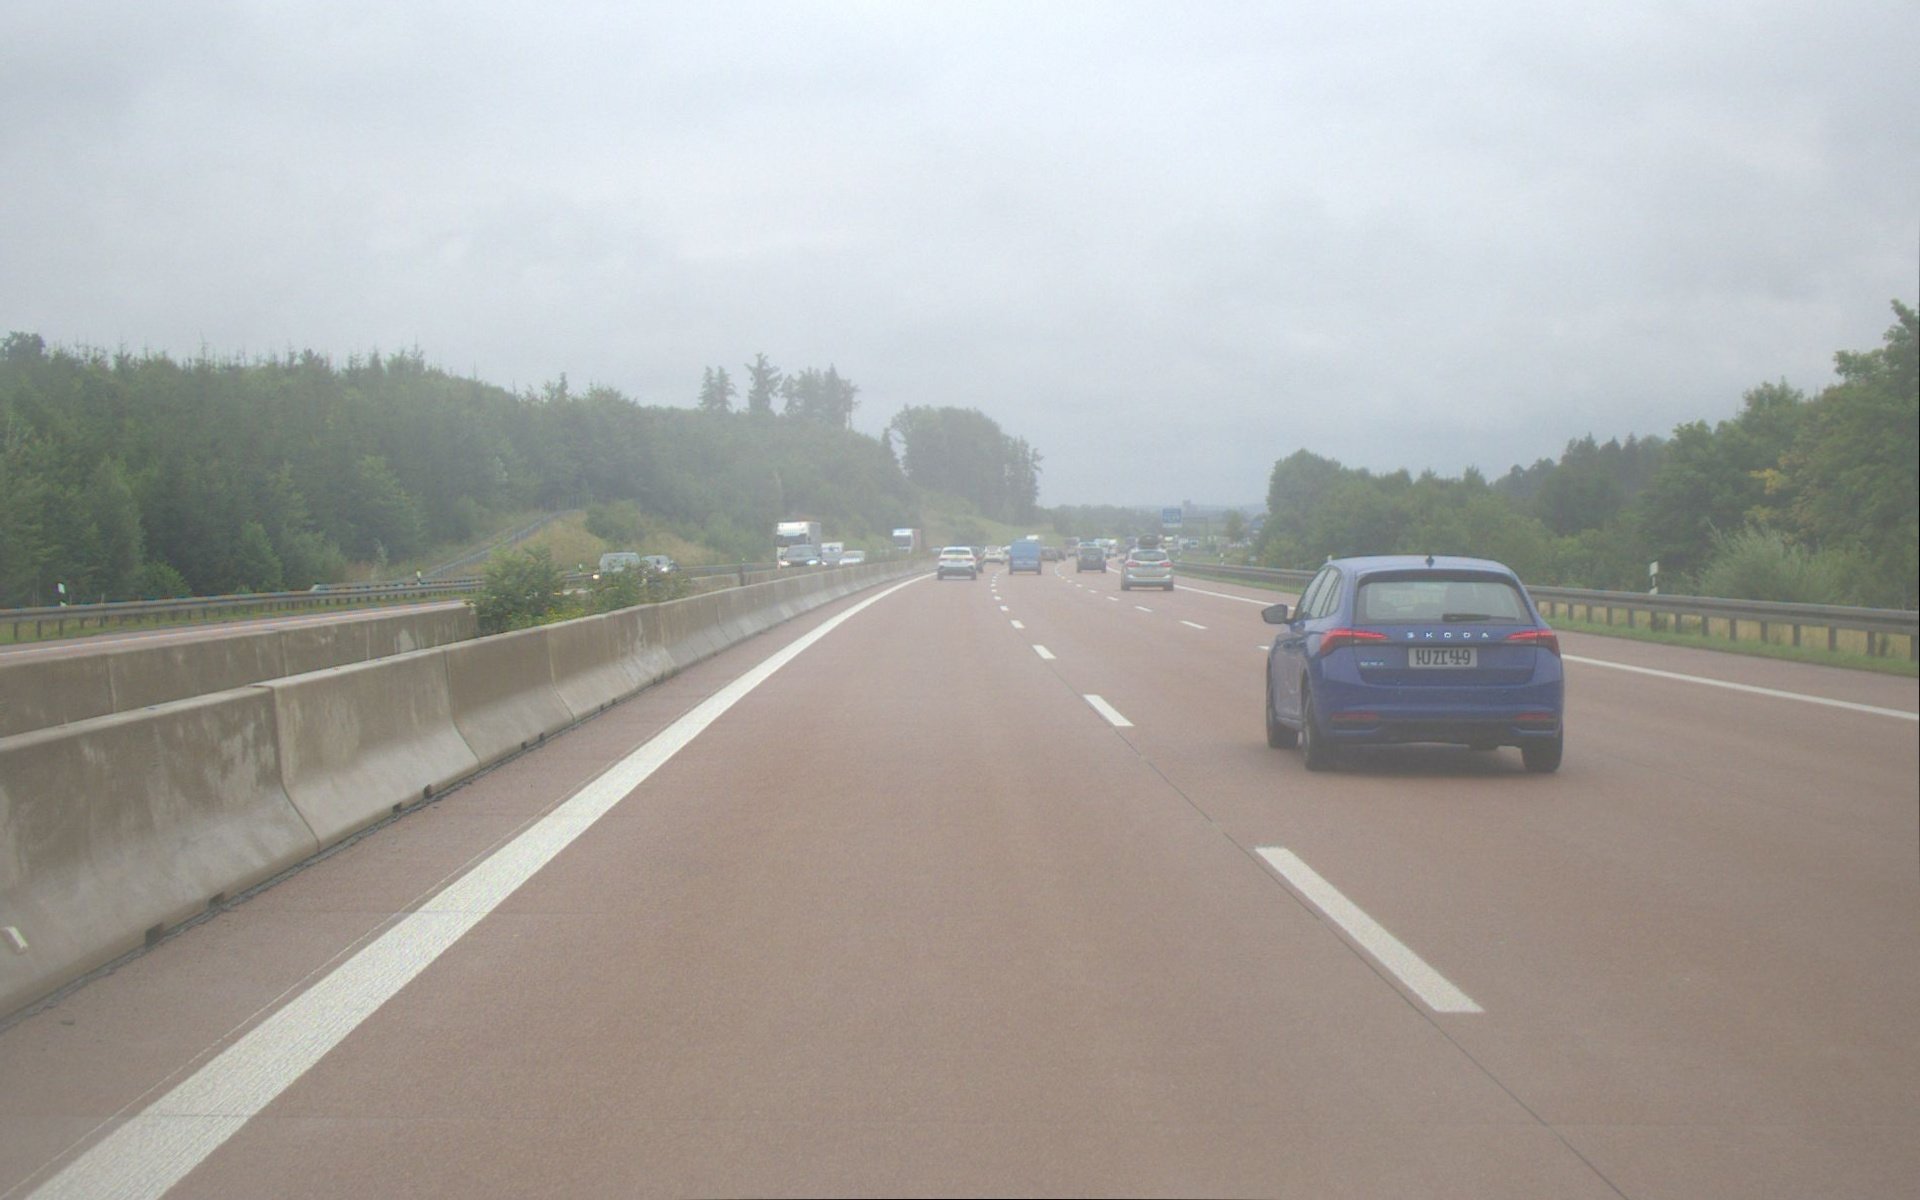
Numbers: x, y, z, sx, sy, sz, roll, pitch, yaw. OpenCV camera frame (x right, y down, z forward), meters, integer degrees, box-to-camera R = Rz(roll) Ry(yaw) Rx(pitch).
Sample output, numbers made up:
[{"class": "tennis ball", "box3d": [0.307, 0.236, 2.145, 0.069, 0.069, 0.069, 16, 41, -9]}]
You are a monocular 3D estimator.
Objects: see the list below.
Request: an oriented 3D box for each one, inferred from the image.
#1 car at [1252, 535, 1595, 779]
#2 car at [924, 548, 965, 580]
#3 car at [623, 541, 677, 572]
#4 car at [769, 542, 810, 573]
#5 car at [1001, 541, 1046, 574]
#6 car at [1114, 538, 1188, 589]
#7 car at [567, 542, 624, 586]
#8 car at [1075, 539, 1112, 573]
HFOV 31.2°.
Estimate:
[{"class": "car", "box3d": [3.192, 0.376, 24.421, 1.771, 1.559, 4.147, 1, 0, -1]}, {"class": "car", "box3d": [-0.744, -1.692, 161.779, 1.874, 1.439, 4.877, 1, 0, -1]}, {"class": "car", "box3d": [-16.362, -2.294, 181.885, 1.994, 1.555, 5.744, 1, 0, 3]}, {"class": "car", "box3d": [-8.846, -2.238, 178.754, 1.865, 1.546, 4.807, 1, 1, 0]}, {"class": "car", "box3d": [3.585, -2.398, 194.992, 2.322, 1.744, 4.877, 1, 0, -1]}, {"class": "car", "box3d": [6.914, -1.315, 124.929, 2.322, 1.744, 4.877, 1, 0, -1]}, {"class": "car", "box3d": [-13.746, -1.341, 129.937, 1.716, 1.577, 4.316, -1, 0, -1]}, {"class": "car", "box3d": [8.194, -2.689, 211.526, 1.993, 2.007, 4.000, 1, 0, -1]}]
